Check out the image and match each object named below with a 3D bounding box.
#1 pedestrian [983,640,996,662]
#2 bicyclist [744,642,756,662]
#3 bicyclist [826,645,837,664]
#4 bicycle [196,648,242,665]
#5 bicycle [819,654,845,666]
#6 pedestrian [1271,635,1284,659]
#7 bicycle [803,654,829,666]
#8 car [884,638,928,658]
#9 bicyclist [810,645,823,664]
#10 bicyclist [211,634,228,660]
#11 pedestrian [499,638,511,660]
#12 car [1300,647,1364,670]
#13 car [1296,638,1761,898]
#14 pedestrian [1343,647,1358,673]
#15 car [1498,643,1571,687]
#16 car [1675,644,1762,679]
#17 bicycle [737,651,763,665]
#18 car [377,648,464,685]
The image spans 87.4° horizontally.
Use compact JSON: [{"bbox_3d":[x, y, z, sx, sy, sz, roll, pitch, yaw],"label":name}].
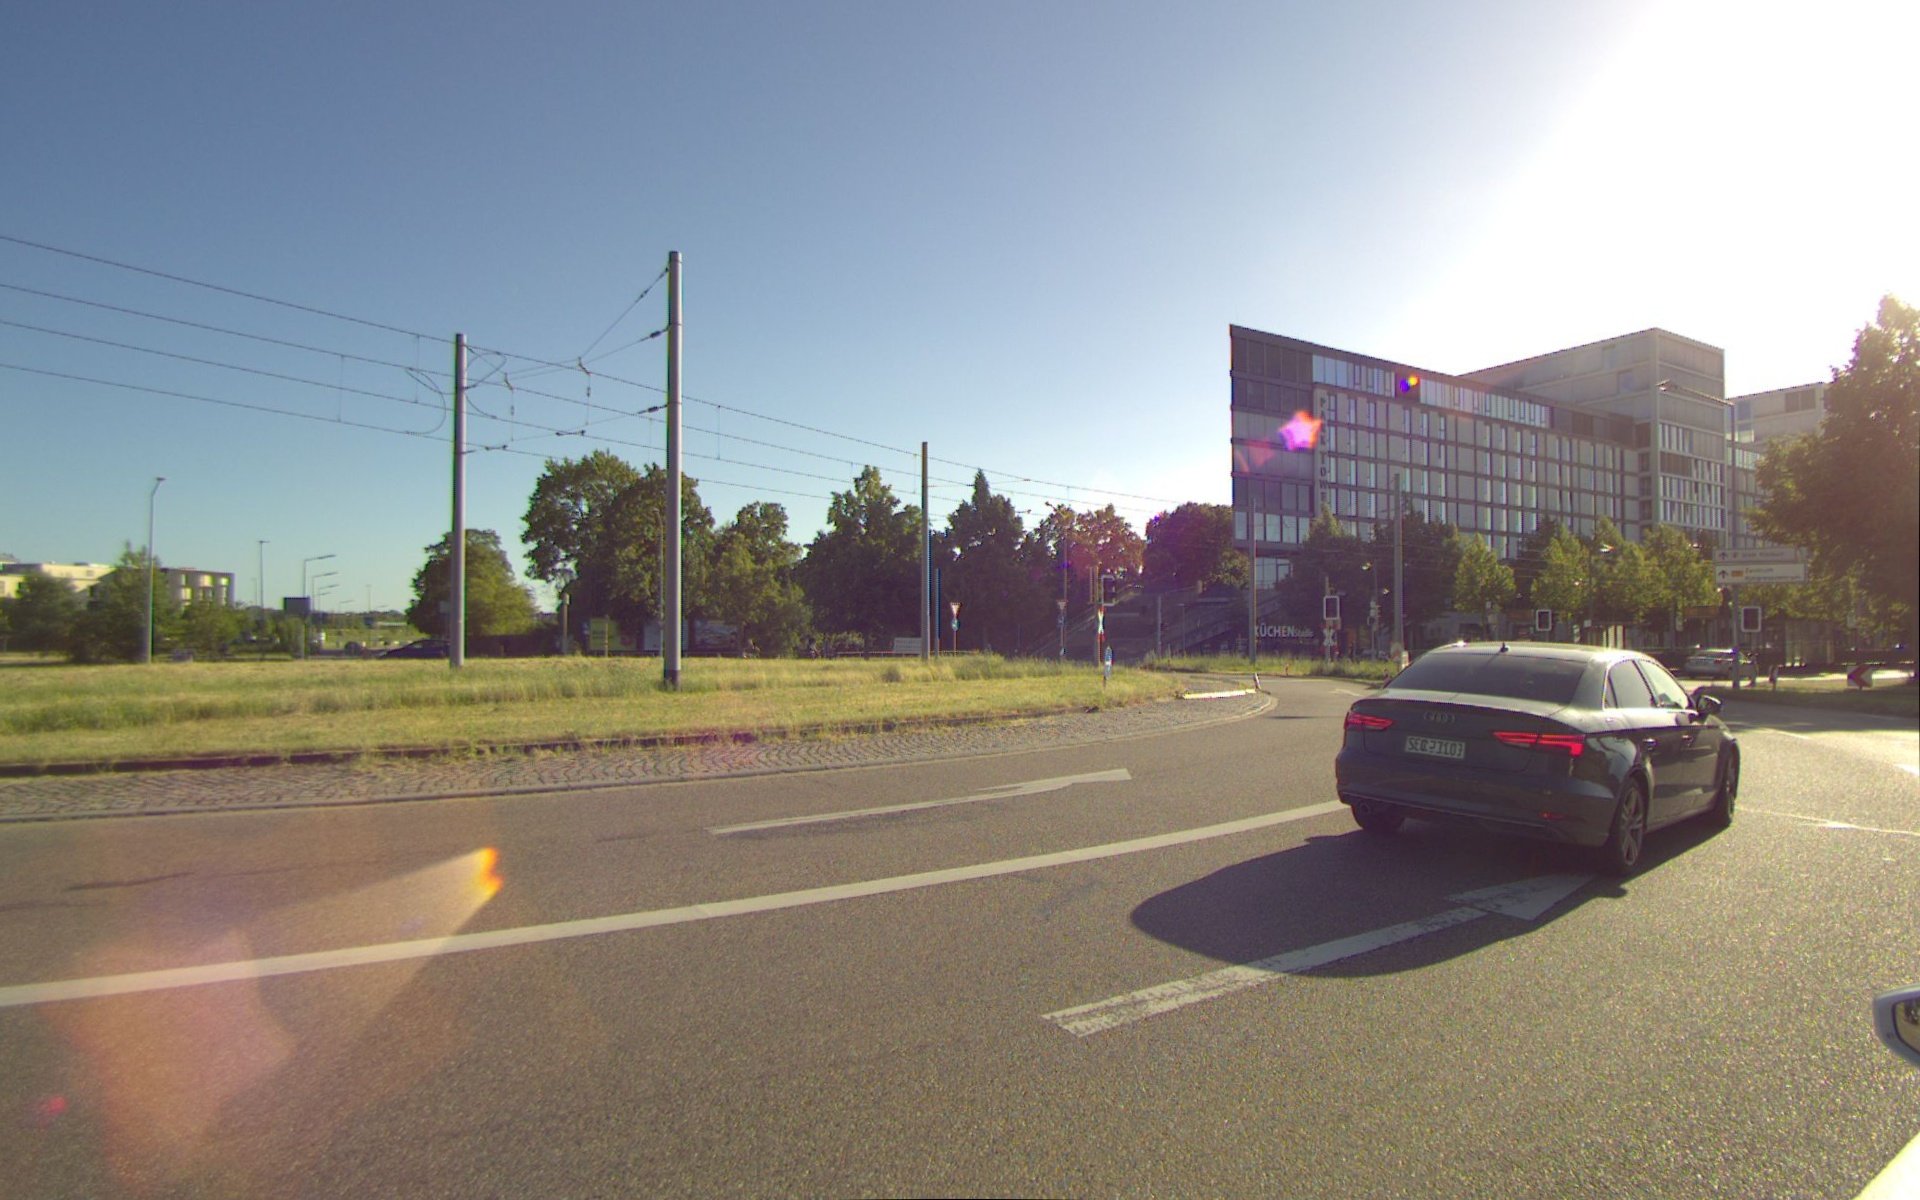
[{"bbox_3d":[2.274,3.933,77.187,0.749,1.651,0.882,0,-2,-18],"label":"pedestrian"},{"bbox_3d":[-15.923,3.909,76.130,0.742,1.487,0.587,1,-2,-2],"label":"bicyclist"},{"bbox_3d":[-9.637,4.092,75.228,0.708,1.411,0.615,0,-2,-19],"label":"bicyclist"},{"bbox_3d":[-46.394,3.537,62.894,2.238,1.001,0.656,1,-2,-33],"label":"bicycle"},{"bbox_3d":[-9.603,4.524,75.210,1.860,0.864,0.614,0,-2,-20],"label":"bicycle"},{"bbox_3d":[26.497,3.927,83.816,0.824,2.040,0.635,1,-2,-29],"label":"pedestrian"},{"bbox_3d":[-10.849,4.519,75.760,1.860,0.864,0.614,0,-2,-20],"label":"bicycle"},{"bbox_3d":[-4.954,4.399,92.929,3.668,1.829,1.840,-1,-2,14],"label":"car"},{"bbox_3d":[-10.820,4.087,75.786,0.824,1.411,0.615,0,-2,-20],"label":"bicyclist"},{"bbox_3d":[-46.367,2.917,62.897,0.826,1.601,0.656,1,-2,-33],"label":"bicyclist"},{"bbox_3d":[-43.130,4.624,95.211,0.893,2.040,0.810,2,-2,-36],"label":"pedestrian"},{"bbox_3d":[25.713,4.030,69.406,4.436,1.506,1.724,2,-2,-29],"label":"car"},{"bbox_3d":[4.480,1.030,7.596,4.325,1.398,1.745,3,-3,-41],"label":"car"},{"bbox_3d":[22.384,3.433,57.577,0.670,1.485,0.551,2,-2,-33],"label":"pedestrian"},{"bbox_3d":[22.697,2.521,39.625,1.782,1.481,3.789,0,0,41],"label":"car"},{"bbox_3d":[37.831,3.030,50.088,4.357,1.596,1.984,1,-2,-31],"label":"car"},{"bbox_3d":[-15.939,4.399,76.124,1.834,1.025,0.587,1,-2,-2],"label":"bicycle"},{"bbox_3d":[-28.299,3.452,52.802,3.864,1.808,1.765,1,-2,-25],"label":"car"}]
